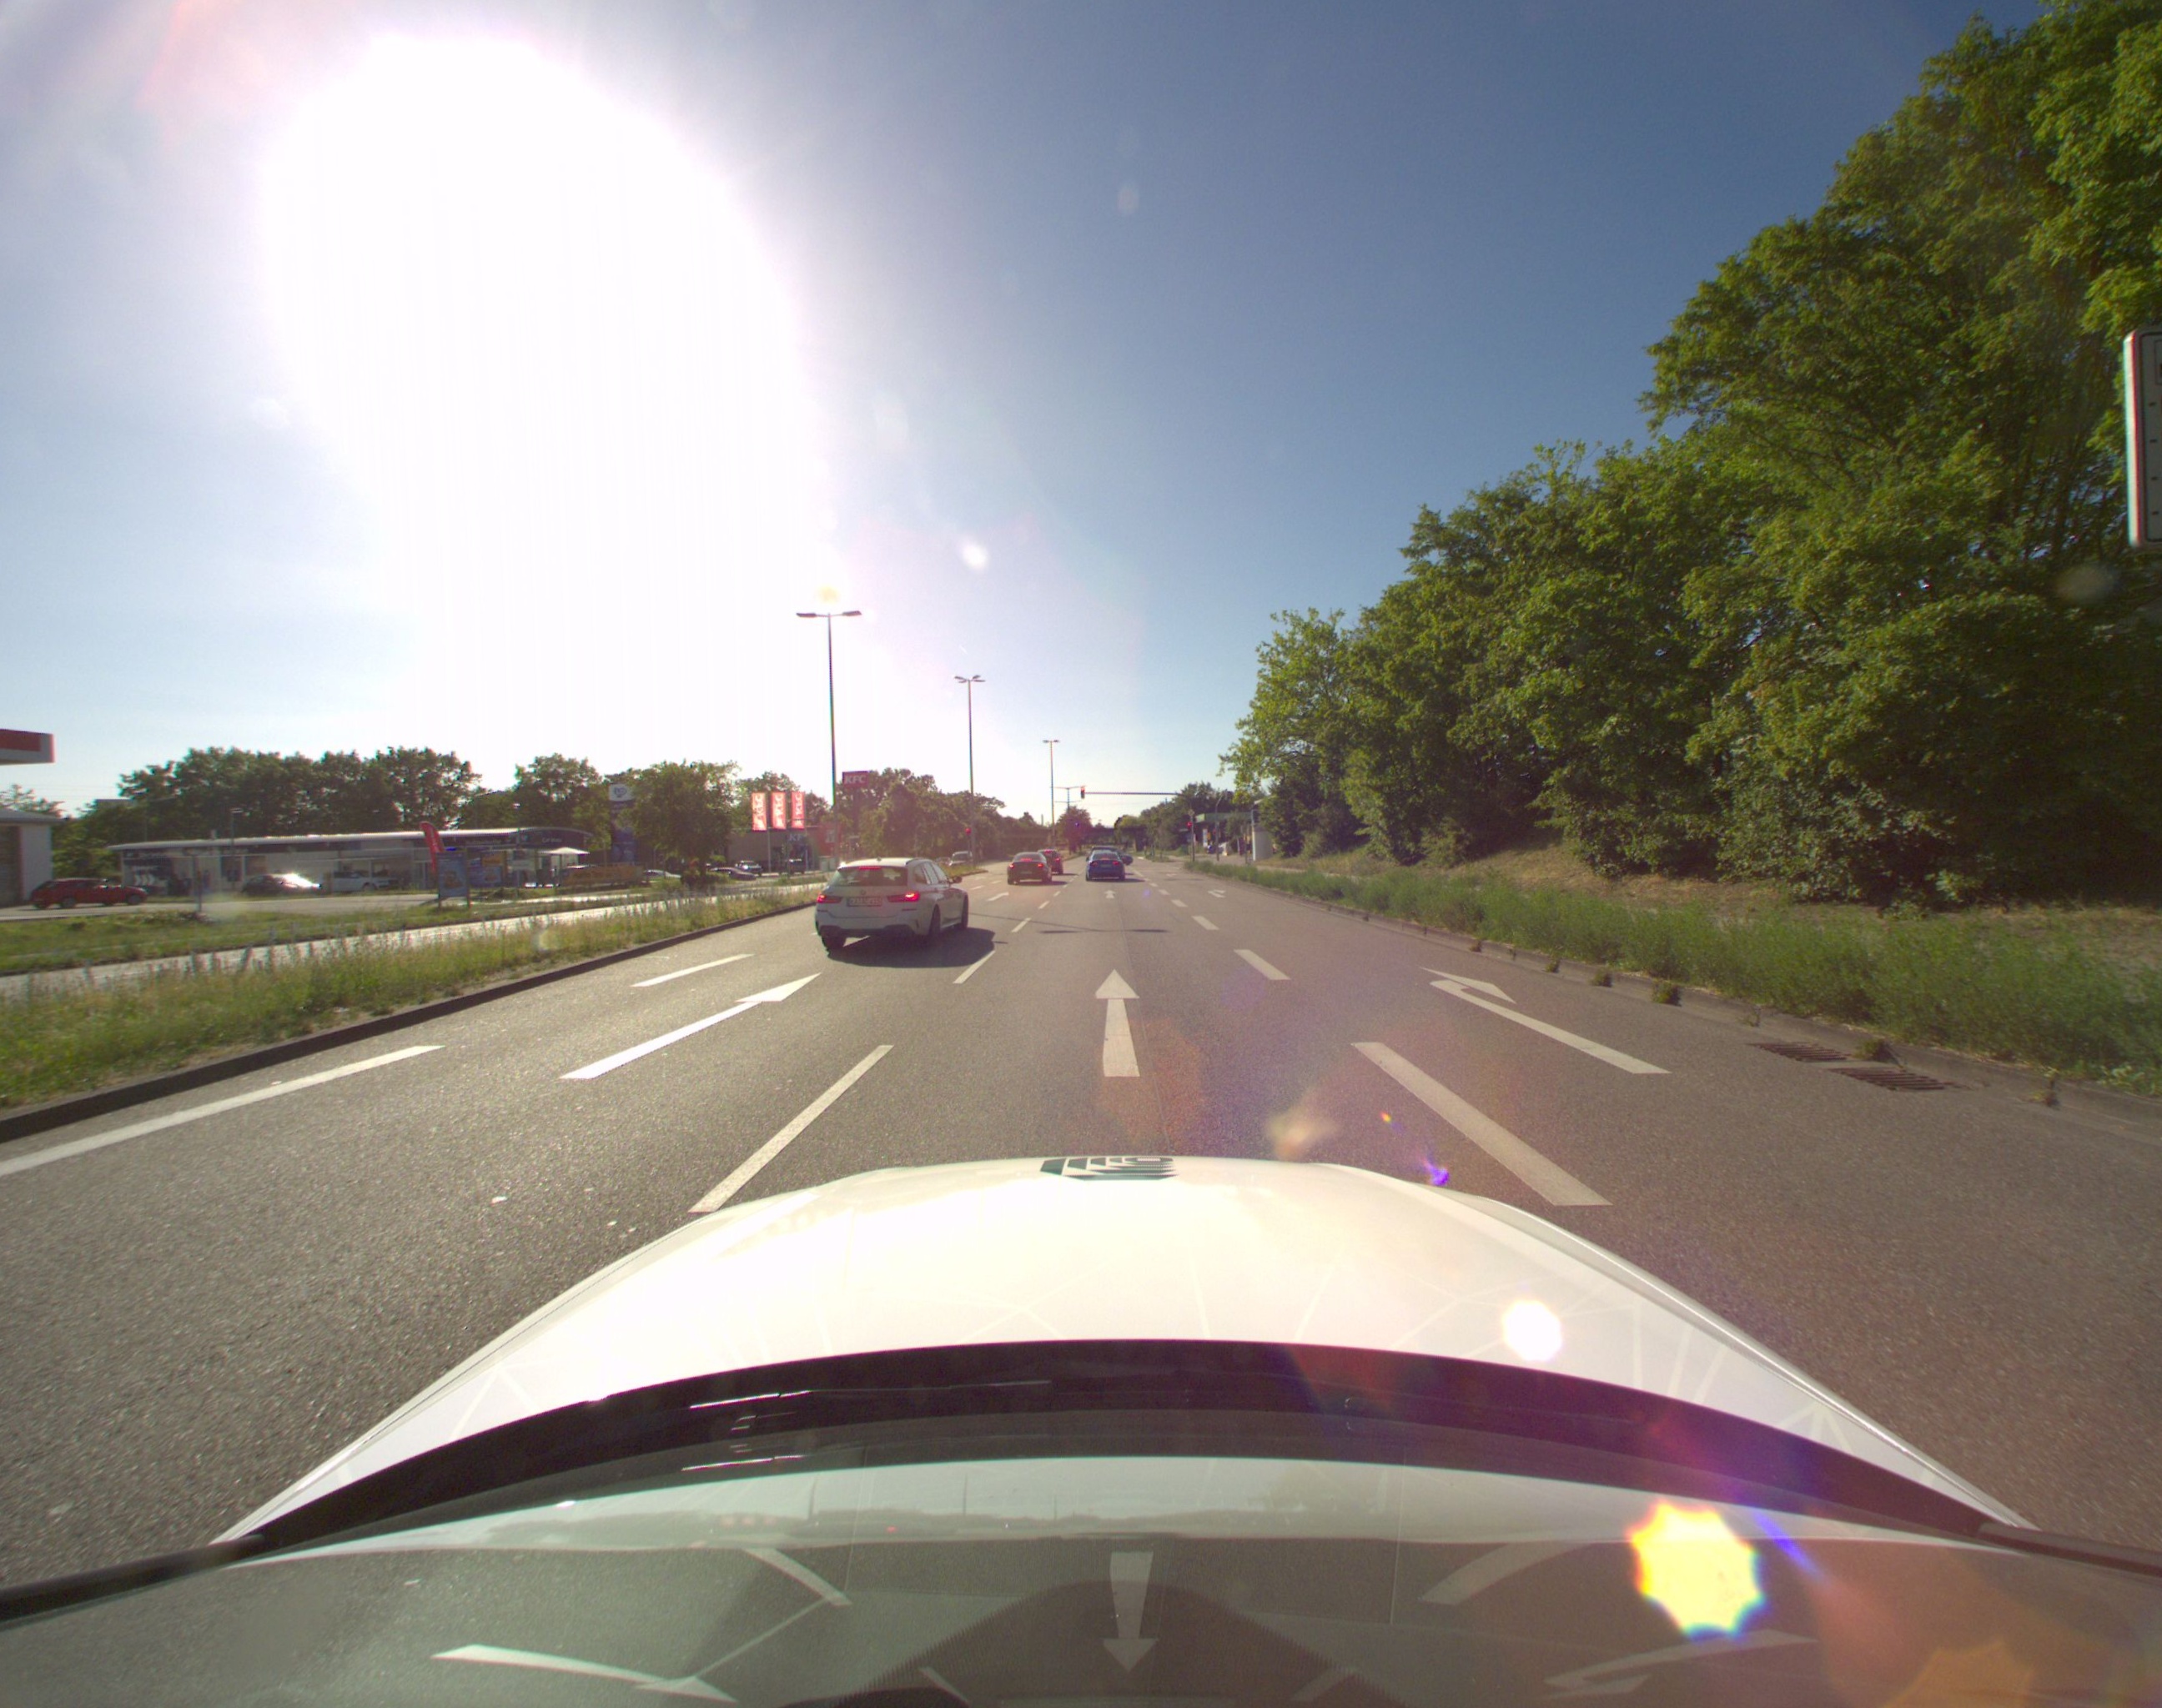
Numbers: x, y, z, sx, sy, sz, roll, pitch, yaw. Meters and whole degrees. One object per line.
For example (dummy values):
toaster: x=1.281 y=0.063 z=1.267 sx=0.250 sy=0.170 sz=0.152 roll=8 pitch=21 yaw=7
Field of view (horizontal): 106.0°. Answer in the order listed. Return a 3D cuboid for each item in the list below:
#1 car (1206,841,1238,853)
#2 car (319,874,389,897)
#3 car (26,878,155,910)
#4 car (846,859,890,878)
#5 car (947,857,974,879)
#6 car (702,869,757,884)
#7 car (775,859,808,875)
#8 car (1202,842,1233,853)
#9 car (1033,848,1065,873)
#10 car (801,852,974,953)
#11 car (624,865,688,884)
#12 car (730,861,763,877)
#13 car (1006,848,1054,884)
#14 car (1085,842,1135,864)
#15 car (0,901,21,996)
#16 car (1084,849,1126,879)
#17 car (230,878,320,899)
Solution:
car: x=18.748 y=-0.912 z=108.551 sx=3.971 sy=1.552 sz=2.001 roll=-1 pitch=0 yaw=2
car: x=-47.462 y=2.037 z=53.202 sx=3.129 sy=1.441 sz=1.534 roll=0 pitch=0 yaw=0
car: x=-51.090 y=2.031 z=42.118 sx=1.516 sy=1.472 sz=4.014 roll=-1 pitch=0 yaw=8
car: x=-21.266 y=1.391 z=81.381 sx=3.791 sy=1.813 sz=1.977 roll=0 pitch=-1 yaw=-38
car: x=-10.570 y=1.211 z=71.786 sx=1.672 sy=1.848 sz=4.296 roll=0 pitch=0 yaw=1
car: x=-31.100 y=1.959 z=72.137 sx=4.070 sy=1.252 sz=1.871 roll=-1 pitch=0 yaw=0
car: x=-32.796 y=1.434 z=92.208 sx=1.946 sy=1.740 sz=4.046 roll=0 pitch=-1 yaw=-45
car: x=19.717 y=-0.894 z=117.362 sx=3.995 sy=1.552 sz=1.989 roll=0 pitch=0 yaw=-16
car: x=-1.962 y=0.407 z=51.746 sx=1.806 sy=1.551 sz=4.353 roll=0 pitch=0 yaw=0
car: x=-3.177 y=0.733 z=14.365 sx=1.805 sy=1.486 sz=4.598 roll=-1 pitch=0 yaw=2
car: x=-38.010 y=1.846 z=72.922 sx=4.608 sy=1.579 sz=1.936 roll=-1 pitch=0 yaw=0
car: x=-36.375 y=1.611 z=88.638 sx=1.946 sy=1.740 sz=4.046 roll=0 pitch=-1 yaw=-45
car: x=-2.333 y=0.526 z=38.347 sx=1.805 sy=1.551 sz=4.544 roll=-1 pitch=0 yaw=1
car: x=2.715 y=-0.100 z=76.553 sx=4.537 sy=1.875 sz=1.829 roll=-1 pitch=0 yaw=41
car: x=-16.186 y=1.395 z=9.384 sx=1.639 sy=1.334 sz=4.683 roll=-5 pitch=0 yaw=2
car: x=1.235 y=0.493 z=40.340 sx=1.901 sy=1.423 sz=3.722 roll=-1 pitch=0 yaw=3
car: x=-52.073 y=2.223 z=52.681 sx=4.028 sy=1.252 sz=1.756 roll=-1 pitch=0 yaw=0
